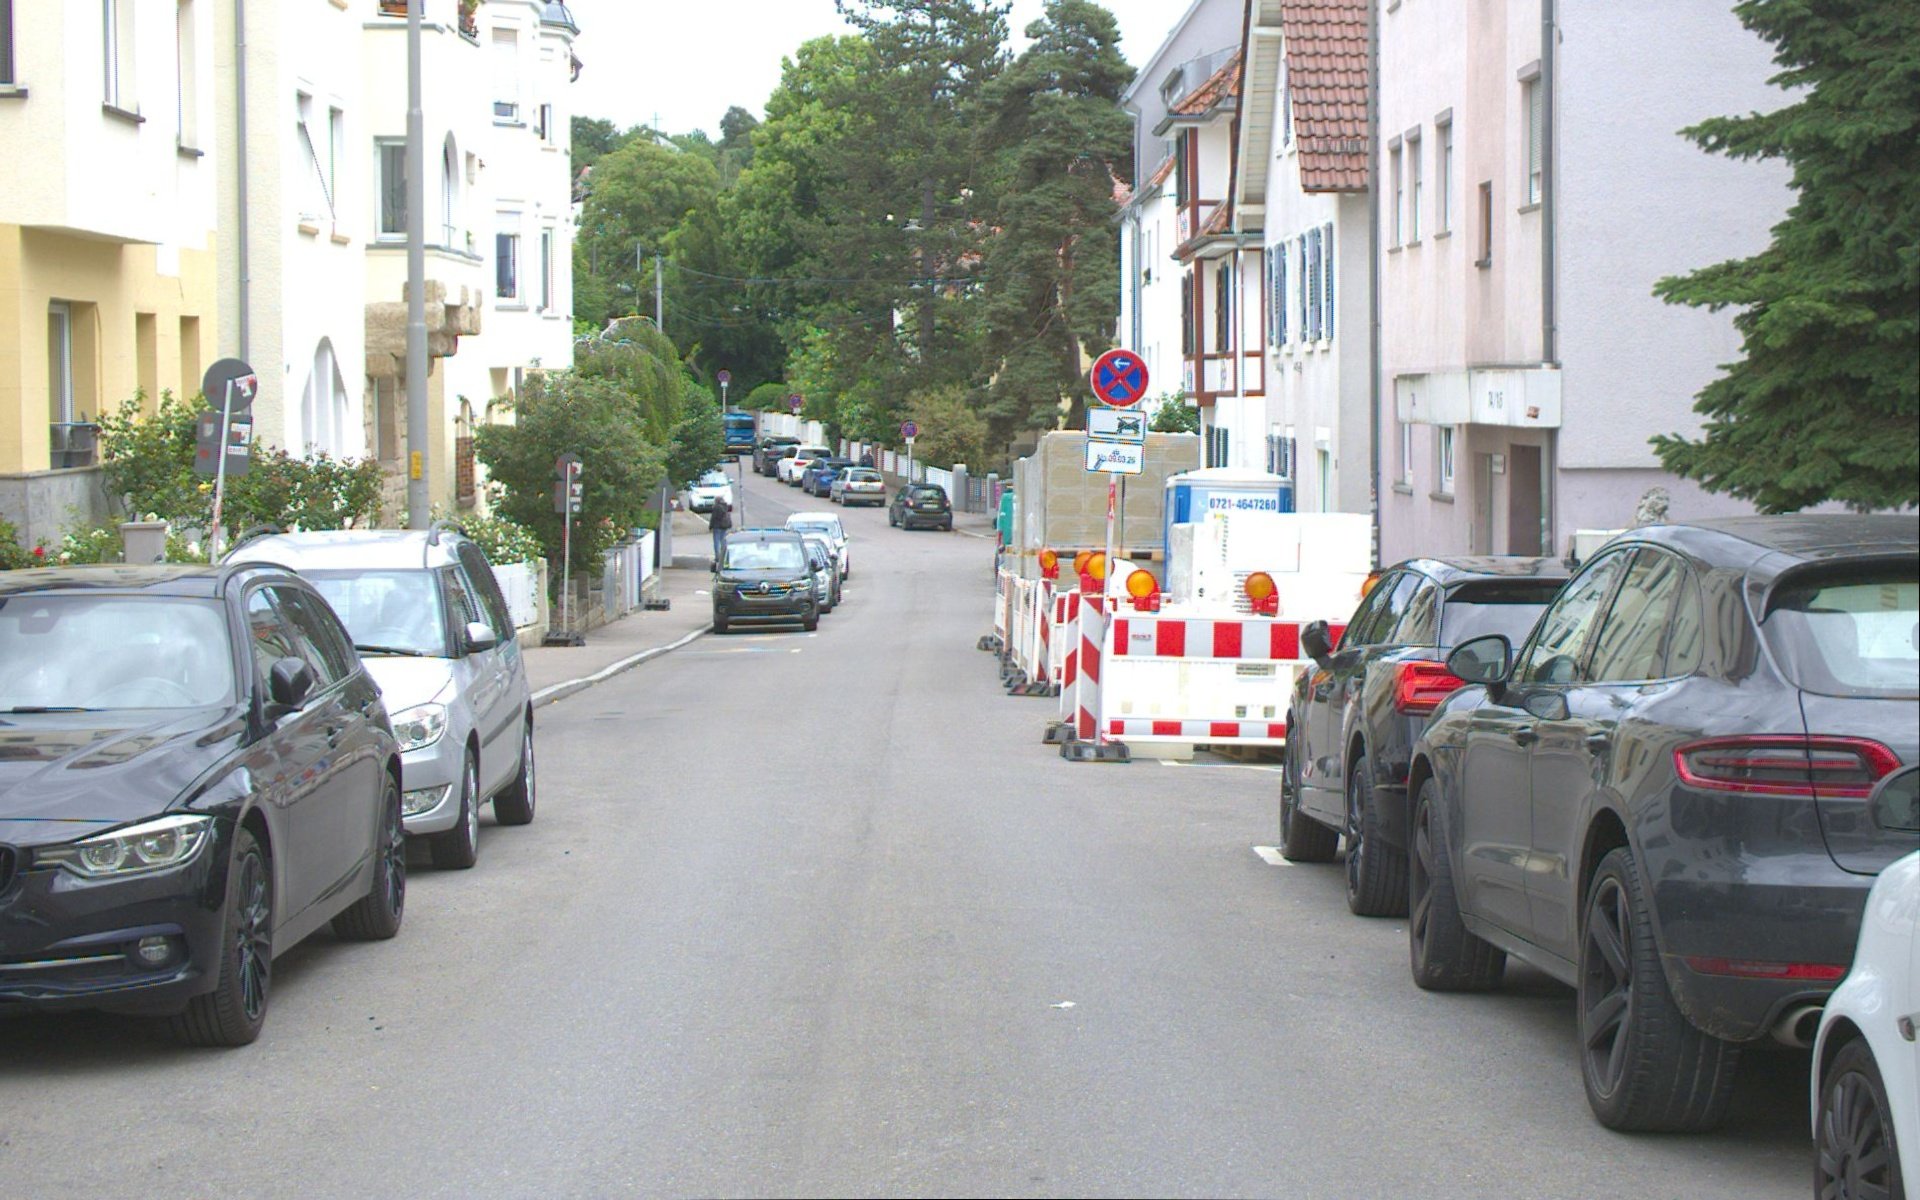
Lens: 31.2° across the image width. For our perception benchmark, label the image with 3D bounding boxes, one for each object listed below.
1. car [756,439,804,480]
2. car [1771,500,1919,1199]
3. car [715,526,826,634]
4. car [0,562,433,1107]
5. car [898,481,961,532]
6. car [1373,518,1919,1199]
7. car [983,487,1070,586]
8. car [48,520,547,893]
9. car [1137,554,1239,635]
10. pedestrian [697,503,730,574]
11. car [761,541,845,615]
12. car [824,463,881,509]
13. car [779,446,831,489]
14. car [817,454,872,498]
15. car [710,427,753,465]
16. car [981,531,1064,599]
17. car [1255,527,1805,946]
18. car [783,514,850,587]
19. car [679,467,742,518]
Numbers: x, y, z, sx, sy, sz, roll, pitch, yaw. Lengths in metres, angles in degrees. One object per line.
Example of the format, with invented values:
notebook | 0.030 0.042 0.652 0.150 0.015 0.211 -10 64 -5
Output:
car | -7.585 -5.910 144.627 1.634 1.532 3.532 0 5 -10
car | 2.480 0.638 5.898 1.487 1.591 2.791 1 2 0
car | -3.379 -0.390 61.078 1.844 1.809 4.545 -1 1 -4
car | -3.035 0.625 11.555 1.845 1.452 4.505 -1 1 -1
car | -1.050 -3.180 116.402 1.634 1.478 3.532 1 5 -8
car | 2.438 0.578 10.162 1.713 1.591 4.499 1 2 -2
car | 1.641 -1.627 86.277 1.980 2.354 4.278 0 2 -2
car | -3.177 0.442 17.310 1.845 1.625 4.287 -1 1 -3
car | 4.573 -0.131 69.475 1.689 1.514 3.881 1 1 -2
pedestrian | -6.705 -1.676 93.585 0.791 1.926 0.919 1 2 2
car | -3.243 -0.483 71.588 1.642 1.412 3.984 -1 2 -2
car | -4.023 -4.260 128.310 1.634 1.478 3.532 0 5 -10
car | -6.287 -5.372 139.042 1.634 1.532 3.532 0 5 -10
car | -4.466 -4.797 132.849 1.634 1.478 3.532 0 5 -10
car | -10.569 -7.131 158.945 1.634 1.532 3.532 0 5 -10
car | 1.421 -0.832 79.397 1.725 1.443 3.881 0 2 -1
car | 2.373 0.486 15.301 1.715 1.560 4.073 1 2 0
car | -3.732 -1.317 89.920 1.672 1.651 3.864 -1 4 -2
car | -9.137 -3.954 125.652 1.672 1.651 3.865 -2 4 -13
